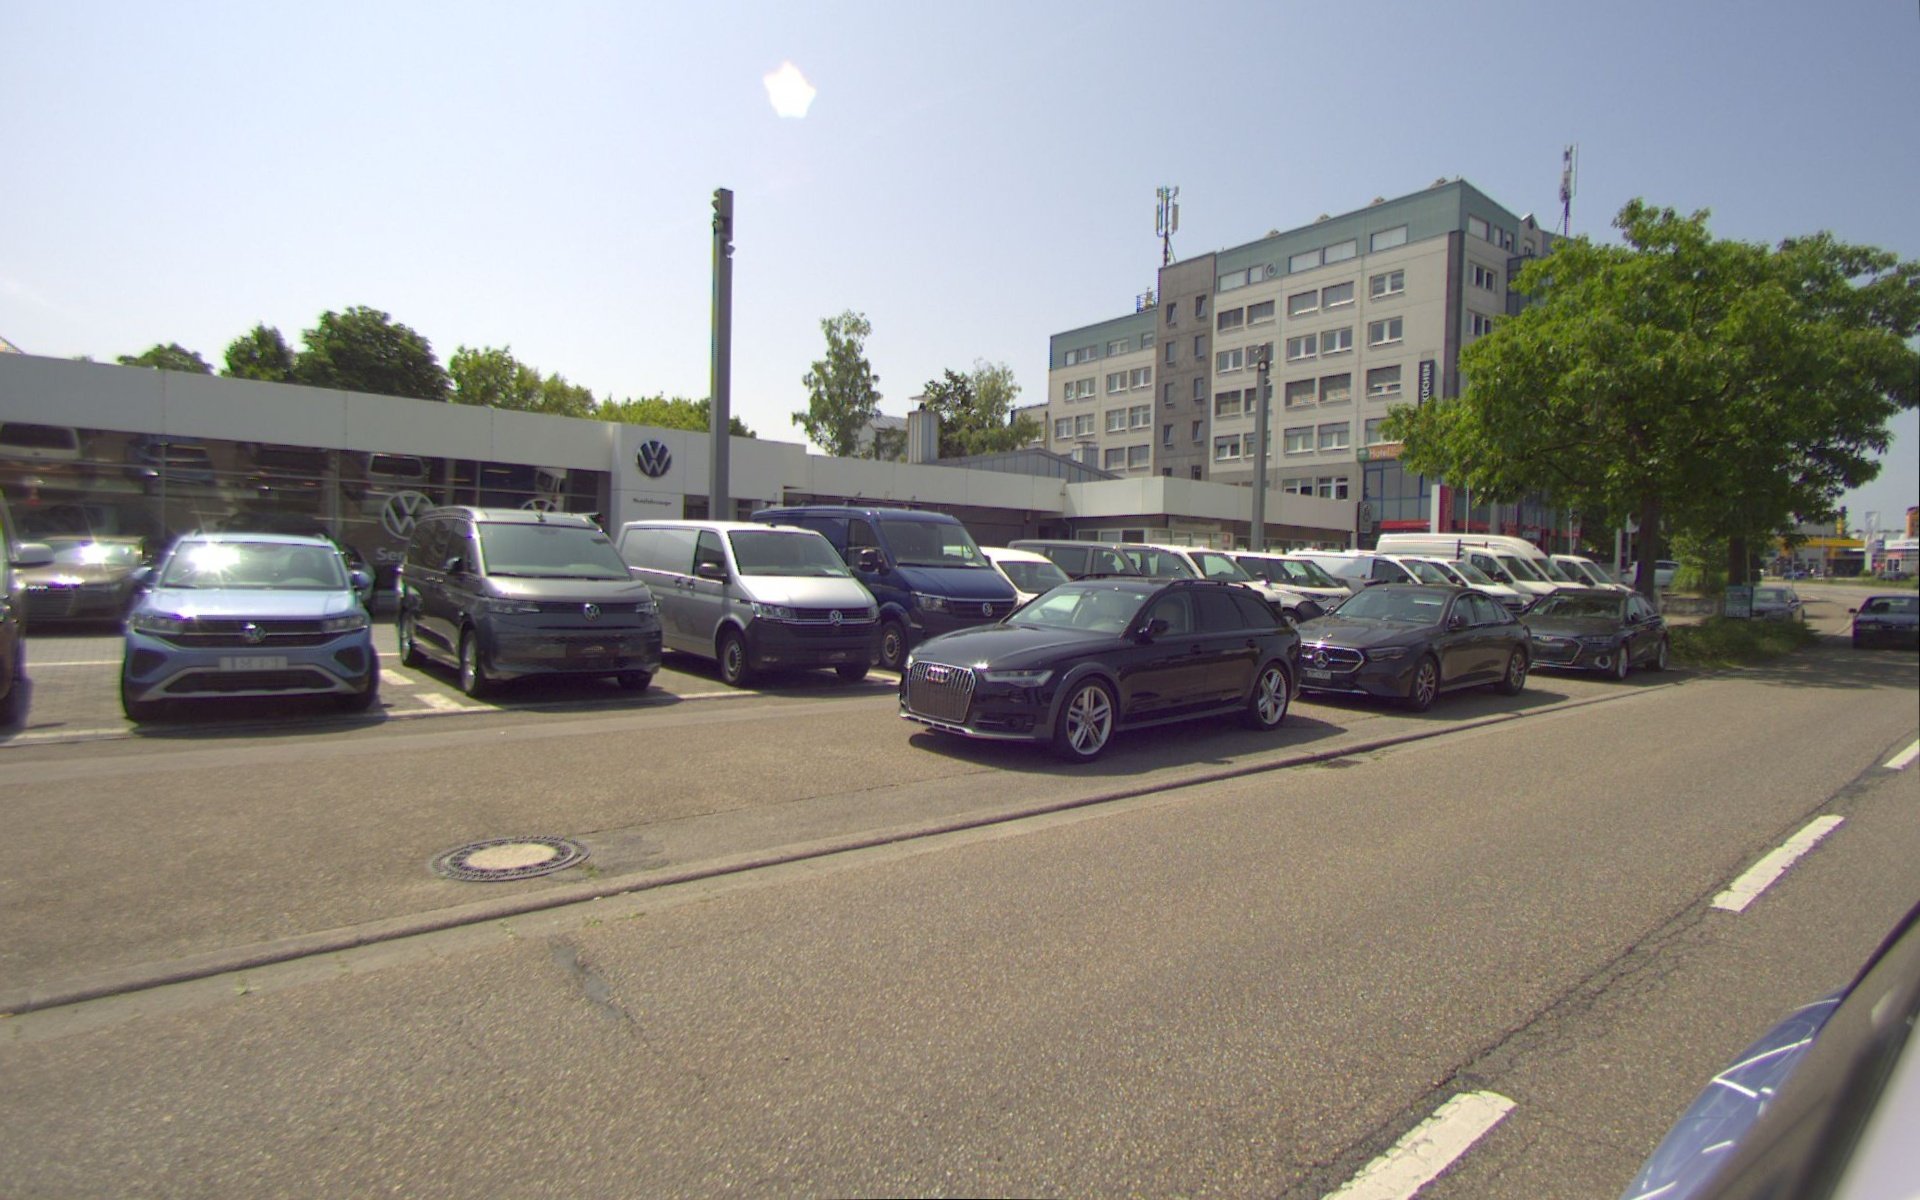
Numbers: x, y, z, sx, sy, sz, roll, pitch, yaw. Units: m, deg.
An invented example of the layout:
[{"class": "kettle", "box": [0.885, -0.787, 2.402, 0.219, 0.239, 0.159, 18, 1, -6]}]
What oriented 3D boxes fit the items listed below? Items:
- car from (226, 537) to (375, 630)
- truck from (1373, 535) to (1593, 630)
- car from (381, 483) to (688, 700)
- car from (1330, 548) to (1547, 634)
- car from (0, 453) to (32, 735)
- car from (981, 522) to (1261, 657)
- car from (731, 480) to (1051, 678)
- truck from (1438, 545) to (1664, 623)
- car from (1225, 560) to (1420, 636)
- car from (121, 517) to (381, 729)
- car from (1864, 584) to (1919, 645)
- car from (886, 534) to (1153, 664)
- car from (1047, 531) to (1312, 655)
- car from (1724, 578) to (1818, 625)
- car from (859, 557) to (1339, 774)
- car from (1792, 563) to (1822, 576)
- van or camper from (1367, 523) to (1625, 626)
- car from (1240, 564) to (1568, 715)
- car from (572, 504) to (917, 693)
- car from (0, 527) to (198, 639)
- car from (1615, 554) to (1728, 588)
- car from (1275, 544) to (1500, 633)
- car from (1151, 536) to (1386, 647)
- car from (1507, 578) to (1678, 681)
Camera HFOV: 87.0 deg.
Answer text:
[{"class": "car", "box": [-11.788, -0.360, 18.302, 1.640, 1.465, 3.580, 1, 3, -23]}, {"class": "truck", "box": [15.168, -0.611, 29.654, 2.073, 2.465, 5.262, 0, 3, -39]}, {"class": "car", "box": [-5.163, -0.101, 11.846, 1.968, 2.009, 4.797, 2, 0, -40]}, {"class": "car", "box": [13.062, -0.339, 27.880, 2.122, 2.139, 4.957, 0, 3, -41]}, {"class": "car", "box": [-9.090, -0.190, 8.440, 1.927, 2.038, 4.649, 0, 3, -42]}, {"class": "car", "box": [2.832, -0.309, 18.884, 2.092, 2.140, 4.910, 0, 3, -41]}, {"class": "car", "box": [-1.350, -0.366, 16.037, 2.165, 2.554, 5.859, -2, 2, -38]}, {"class": "truck", "box": [20.207, -0.639, 34.935, 2.326, 2.365, 6.262, 0, 3, -39]}, {"class": "car", "box": [8.822, -0.100, 24.830, 4.025, 1.488, 1.884, 7, 5, 43]}, {"class": "car", "box": [-6.616, 0.115, 9.559, 1.683, 1.590, 3.643, -1, 2, -35]}, {"class": "car", "box": [24.539, 0.333, 26.051, 1.694, 1.390, 3.937, 3, 4, 44]}, {"class": "car", "box": [0.881, -0.131, 17.491, 1.918, 1.873, 4.577, 0, 3, -41]}, {"class": "car", "box": [4.342, -0.263, 20.824, 2.005, 2.122, 5.076, -1, 5, -41]}, {"class": "car", "box": [26.613, 0.004, 33.175, 4.248, 1.423, 1.800, -2, 2, -43]}, {"class": "car", "box": [1.603, 0.418, 9.846, 5.071, 1.498, 1.857, -1, 5, -44]}, {"class": "car", "box": [100.996, -3.661, 120.694, 1.852, 1.382, 4.306, 4, 4, 28]}, {"class": "van or camper", "box": [16.764, -0.896, 32.086, 2.236, 2.933, 6.810, 0, 3, -41]}, {"class": "car", "box": [6.051, 0.384, 13.465, 5.071, 1.548, 1.965, -1, 5, -41]}, {"class": "car", "box": [-3.243, -0.176, 13.914, 2.218, 2.038, 5.910, 0, 3, -39]}, {"class": "car", "box": [-13.816, -0.353, 15.980, 1.828, 1.495, 4.374, 1, 3, -23]}, {"class": "car", "box": [38.304, -1.547, 54.621, 4.689, 1.734, 1.984, 0, 2, 25]}, {"class": "car", "box": [10.953, -0.396, 26.262, 2.104, 1.994, 4.925, -1, 4, -40]}, {"class": "car", "box": [6.768, -0.317, 22.623, 2.159, 2.037, 4.523, -2, 6, -39]}, {"class": "car", "box": [11.142, 0.410, 17.696, 1.682, 1.452, 4.371, 5, 5, 43]}]
